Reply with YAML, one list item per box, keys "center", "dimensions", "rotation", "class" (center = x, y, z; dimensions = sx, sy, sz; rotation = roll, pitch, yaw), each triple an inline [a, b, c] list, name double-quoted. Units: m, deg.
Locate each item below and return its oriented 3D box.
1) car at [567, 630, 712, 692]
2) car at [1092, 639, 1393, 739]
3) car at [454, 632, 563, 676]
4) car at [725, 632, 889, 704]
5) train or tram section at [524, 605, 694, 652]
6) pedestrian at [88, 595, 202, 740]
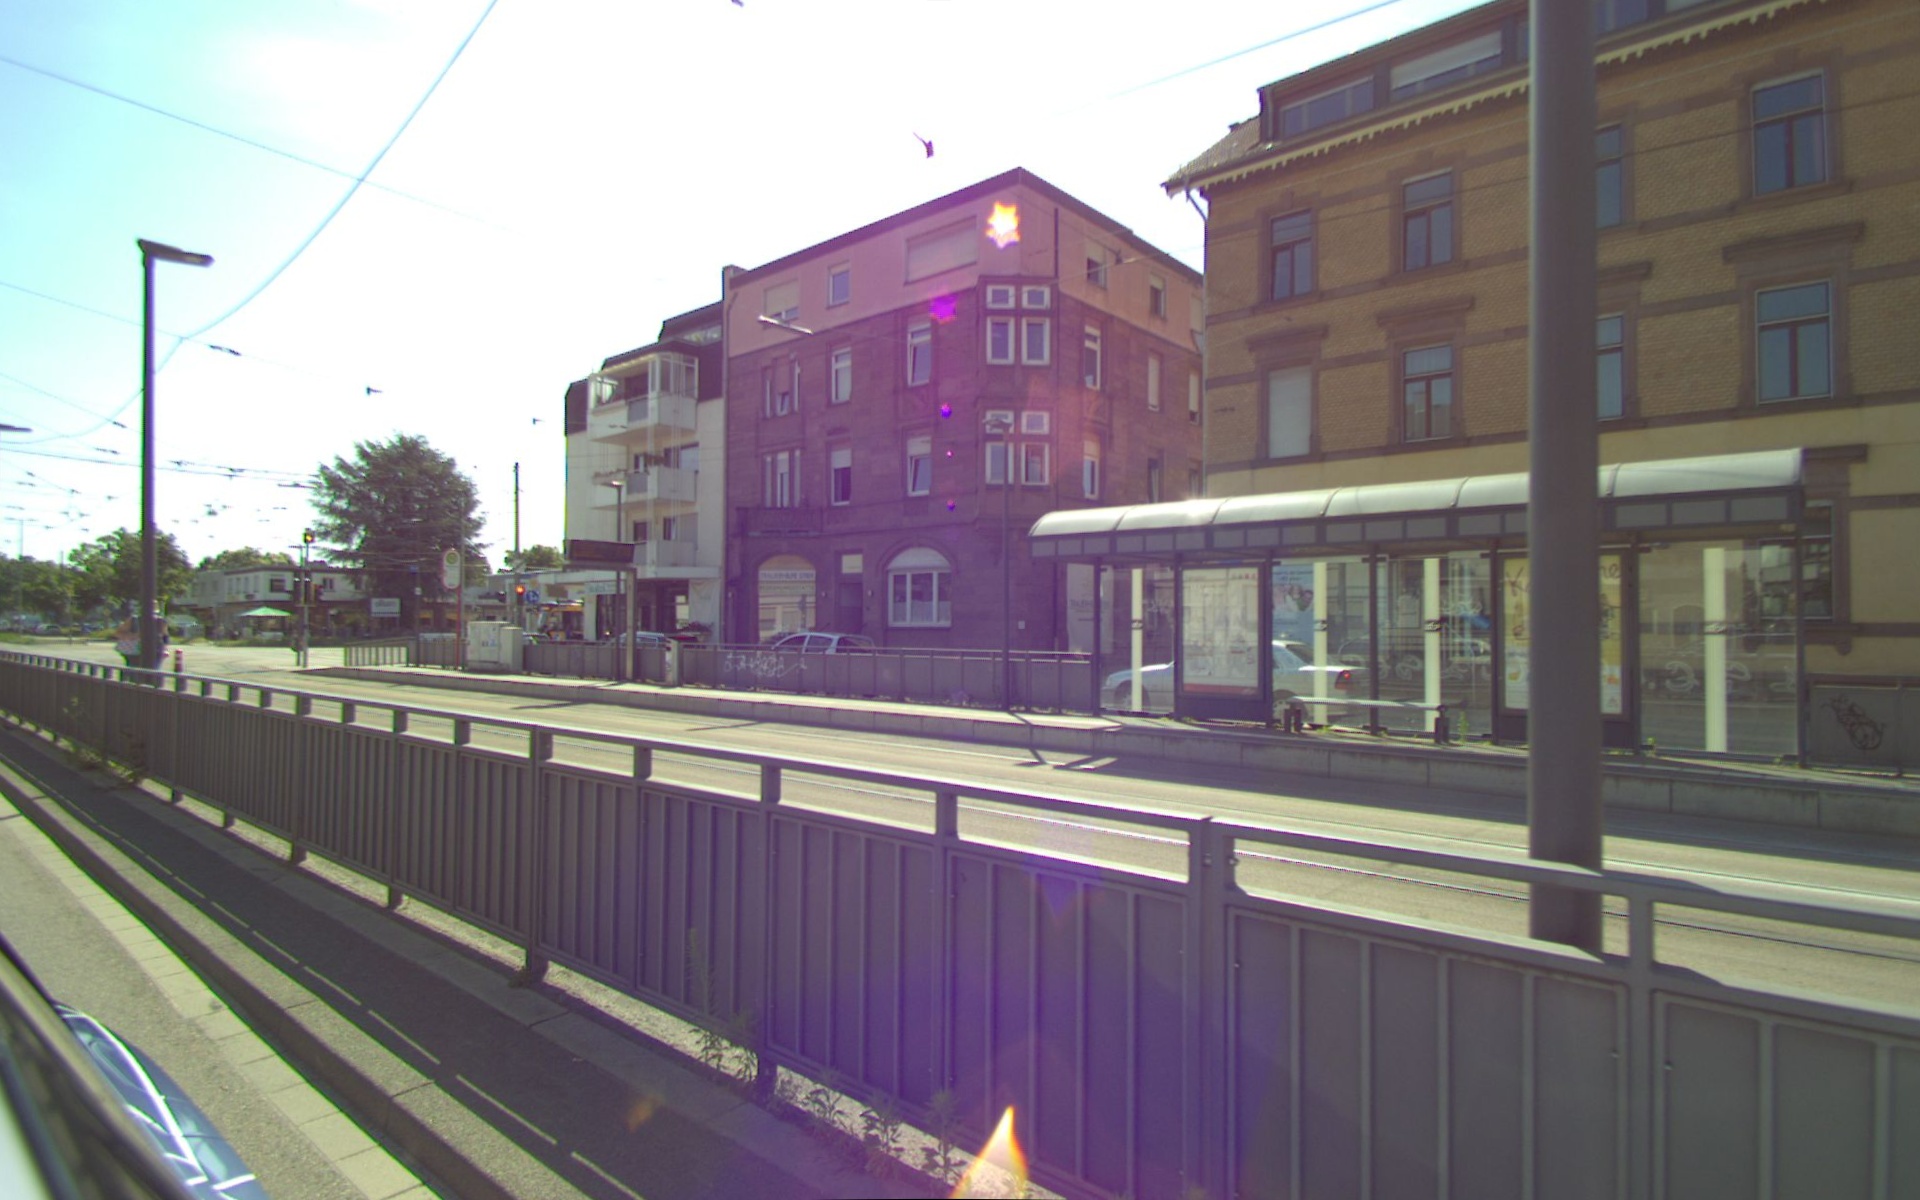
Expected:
- center: [-8.861, 1.621, 27.796]
  dimensions: [4.470, 1.527, 1.694]
  rotation: [-2, -1, 40]
  class: "car"
- center: [4.515, 1.361, 16.628]
  dimensions: [4.518, 1.373, 1.615]
  rotation: [-1, -2, 40]
  class: "car"
- center: [-14.853, 1.728, 33.211]
  dimensions: [4.076, 1.253, 1.694]
  rotation: [-1, 0, 41]
  class: "car"
- center: [-3.561, 1.499, 23.139]
  dimensions: [3.863, 1.480, 1.609]
  rotation: [-2, -2, 41]
  class: "car"
- center: [-27.781, 2.304, 81.074]
  dimensions: [2.688, 3.507, 13.149]
  rotation: [-1, -2, 43]
  class: "train or tram section"
- center: [-11.205, 0.897, 13.911]
  dimensions: [1.237, 1.873, 0.970]
  rotation: [-1, -3, 41]
  class: "pedestrian"
